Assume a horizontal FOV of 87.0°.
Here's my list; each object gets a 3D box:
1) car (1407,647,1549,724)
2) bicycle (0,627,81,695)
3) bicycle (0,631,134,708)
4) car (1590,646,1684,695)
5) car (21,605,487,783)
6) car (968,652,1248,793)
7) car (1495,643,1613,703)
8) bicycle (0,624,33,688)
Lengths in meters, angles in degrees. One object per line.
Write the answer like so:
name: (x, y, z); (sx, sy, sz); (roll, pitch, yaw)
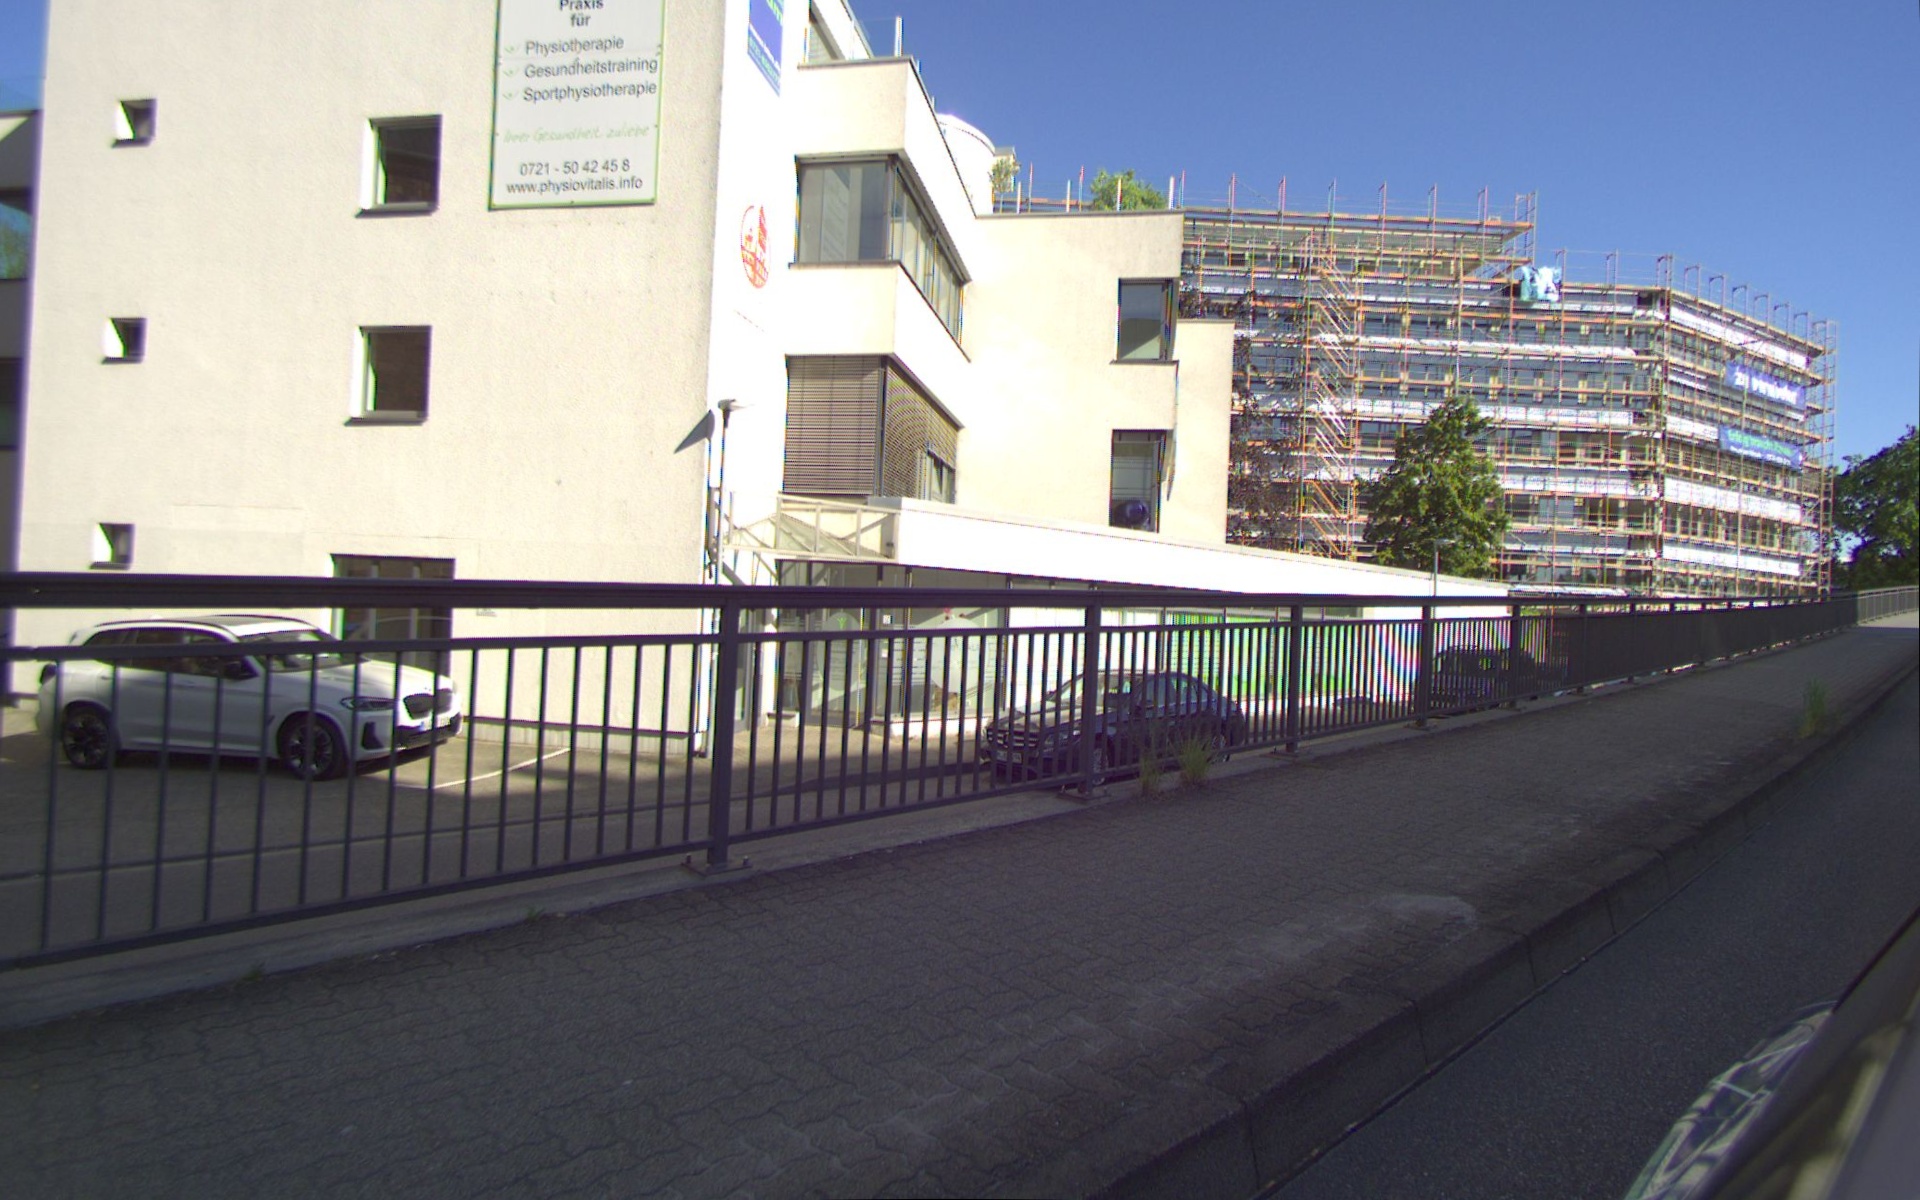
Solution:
car: (12.113, 1.915, 23.562); (3.932, 1.541, 1.723); (2, -1, -43)
bicycle: (-16.207, 1.038, 17.188); (0.655, 1.065, 1.916); (2, 1, 11)
bicycle: (-14.728, 1.098, 16.533); (0.655, 1.065, 1.916); (2, 1, 11)
car: (22.259, 2.264, 33.222); (3.932, 1.410, 1.723); (2, -1, -43)
car: (-8.235, 1.007, 12.006); (4.454, 1.707, 1.840); (2, 0, 8)
car: (2.144, 1.564, 14.055); (3.930, 1.541, 1.724); (2, -1, -41)
car: (16.201, 1.936, 27.528); (3.932, 1.410, 1.723); (2, -1, -43)
bicycle: (-17.127, 0.986, 17.264); (0.655, 1.065, 1.916); (2, 1, 11)
